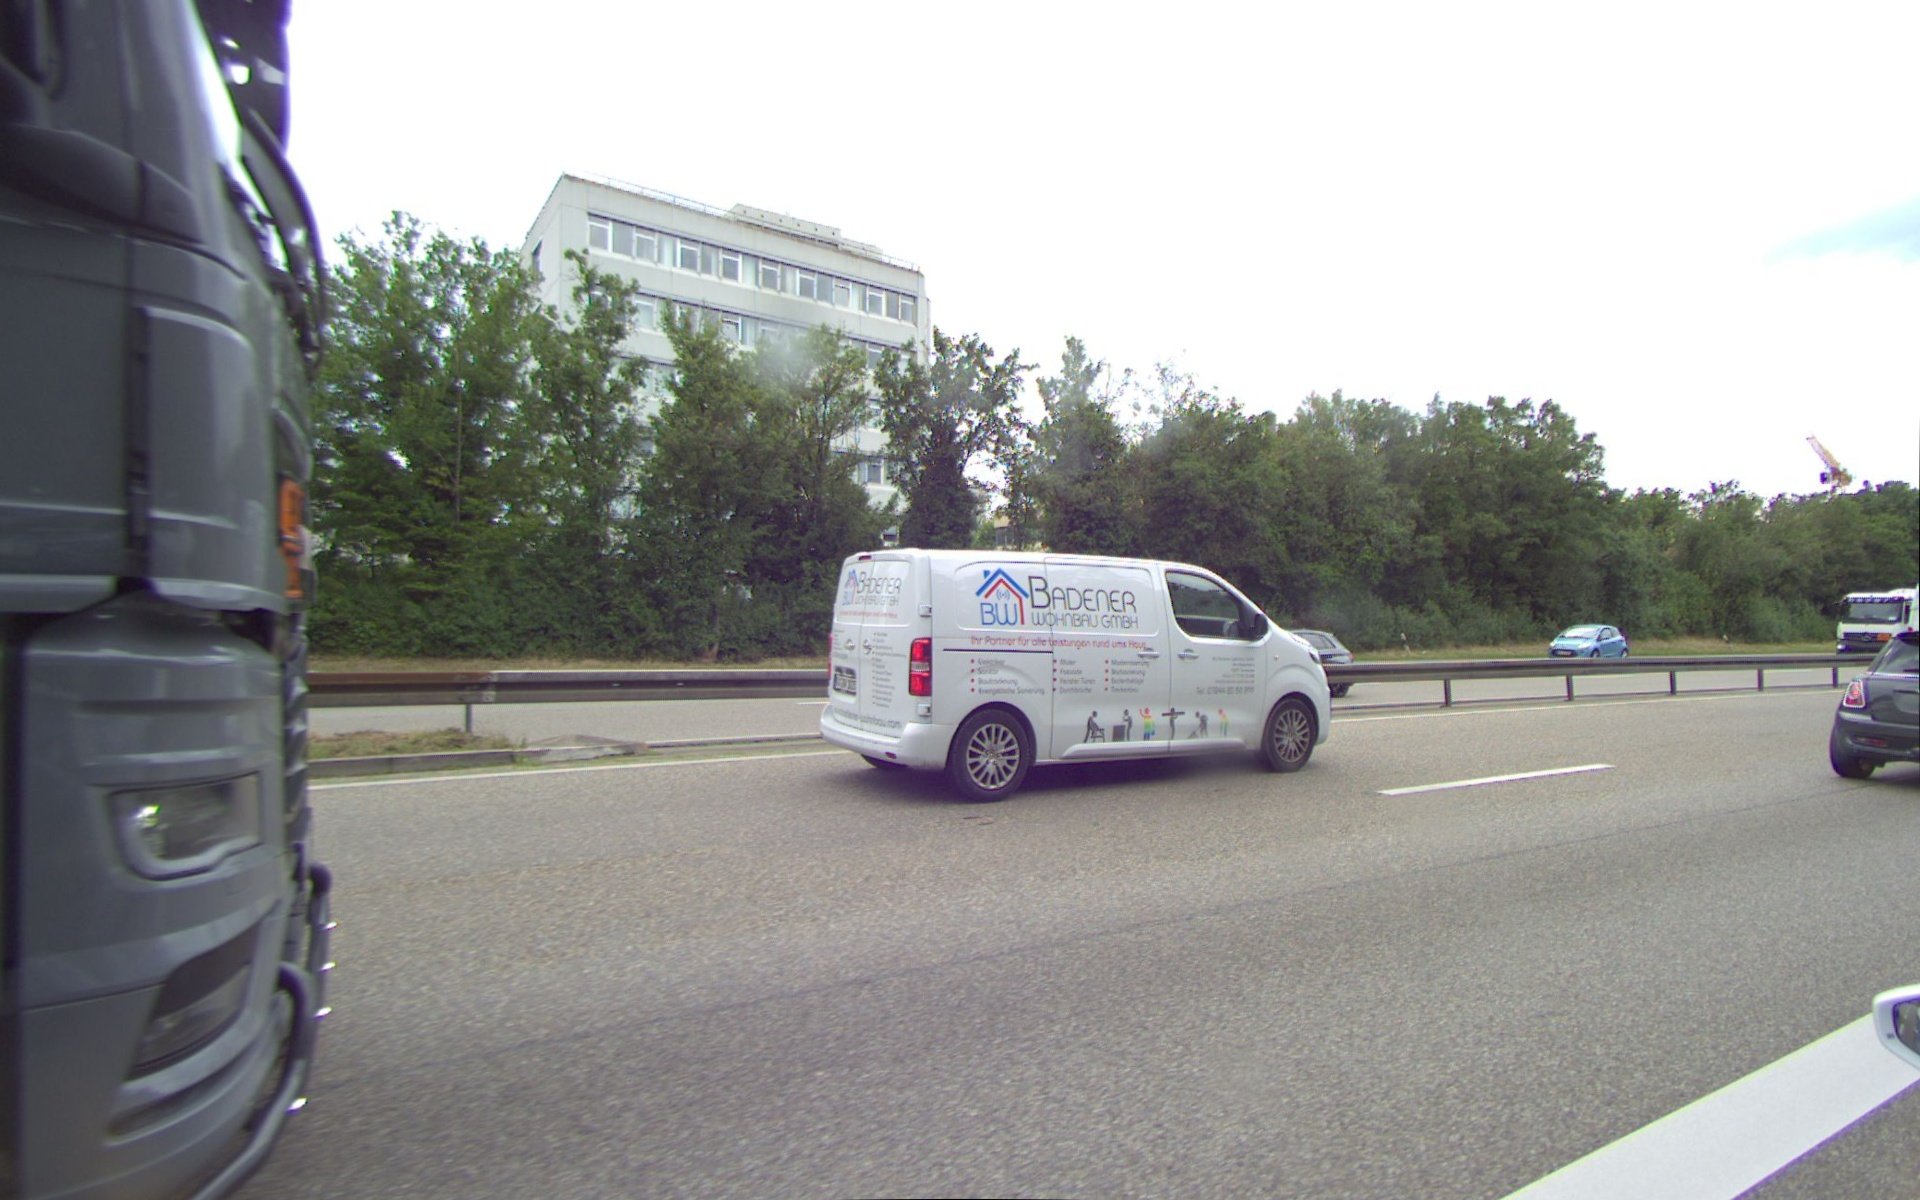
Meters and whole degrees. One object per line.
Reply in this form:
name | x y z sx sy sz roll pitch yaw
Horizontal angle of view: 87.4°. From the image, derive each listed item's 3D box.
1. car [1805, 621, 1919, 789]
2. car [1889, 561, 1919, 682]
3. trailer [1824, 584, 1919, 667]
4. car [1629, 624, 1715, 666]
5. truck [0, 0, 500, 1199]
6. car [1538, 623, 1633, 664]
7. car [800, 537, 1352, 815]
car | 9.913 0.947 9.551 3.620 1.441 1.739 1 0 -30
car | 24.012 0.567 22.778 6.713 2.612 2.213 2 0 -28
trailer | 43.696 1.179 45.547 12.302 3.441 2.461 1 -1 -27
car | 30.361 1.889 42.832 3.733 1.739 1.669 1 -1 -31
truck | -4.532 -0.606 1.315 6.861 3.959 2.667 1 -1 -33
car | 24.096 1.647 38.696 3.660 1.521 1.585 1 -1 -30
car | 1.171 0.574 8.987 4.822 1.917 1.841 1 -1 -32
